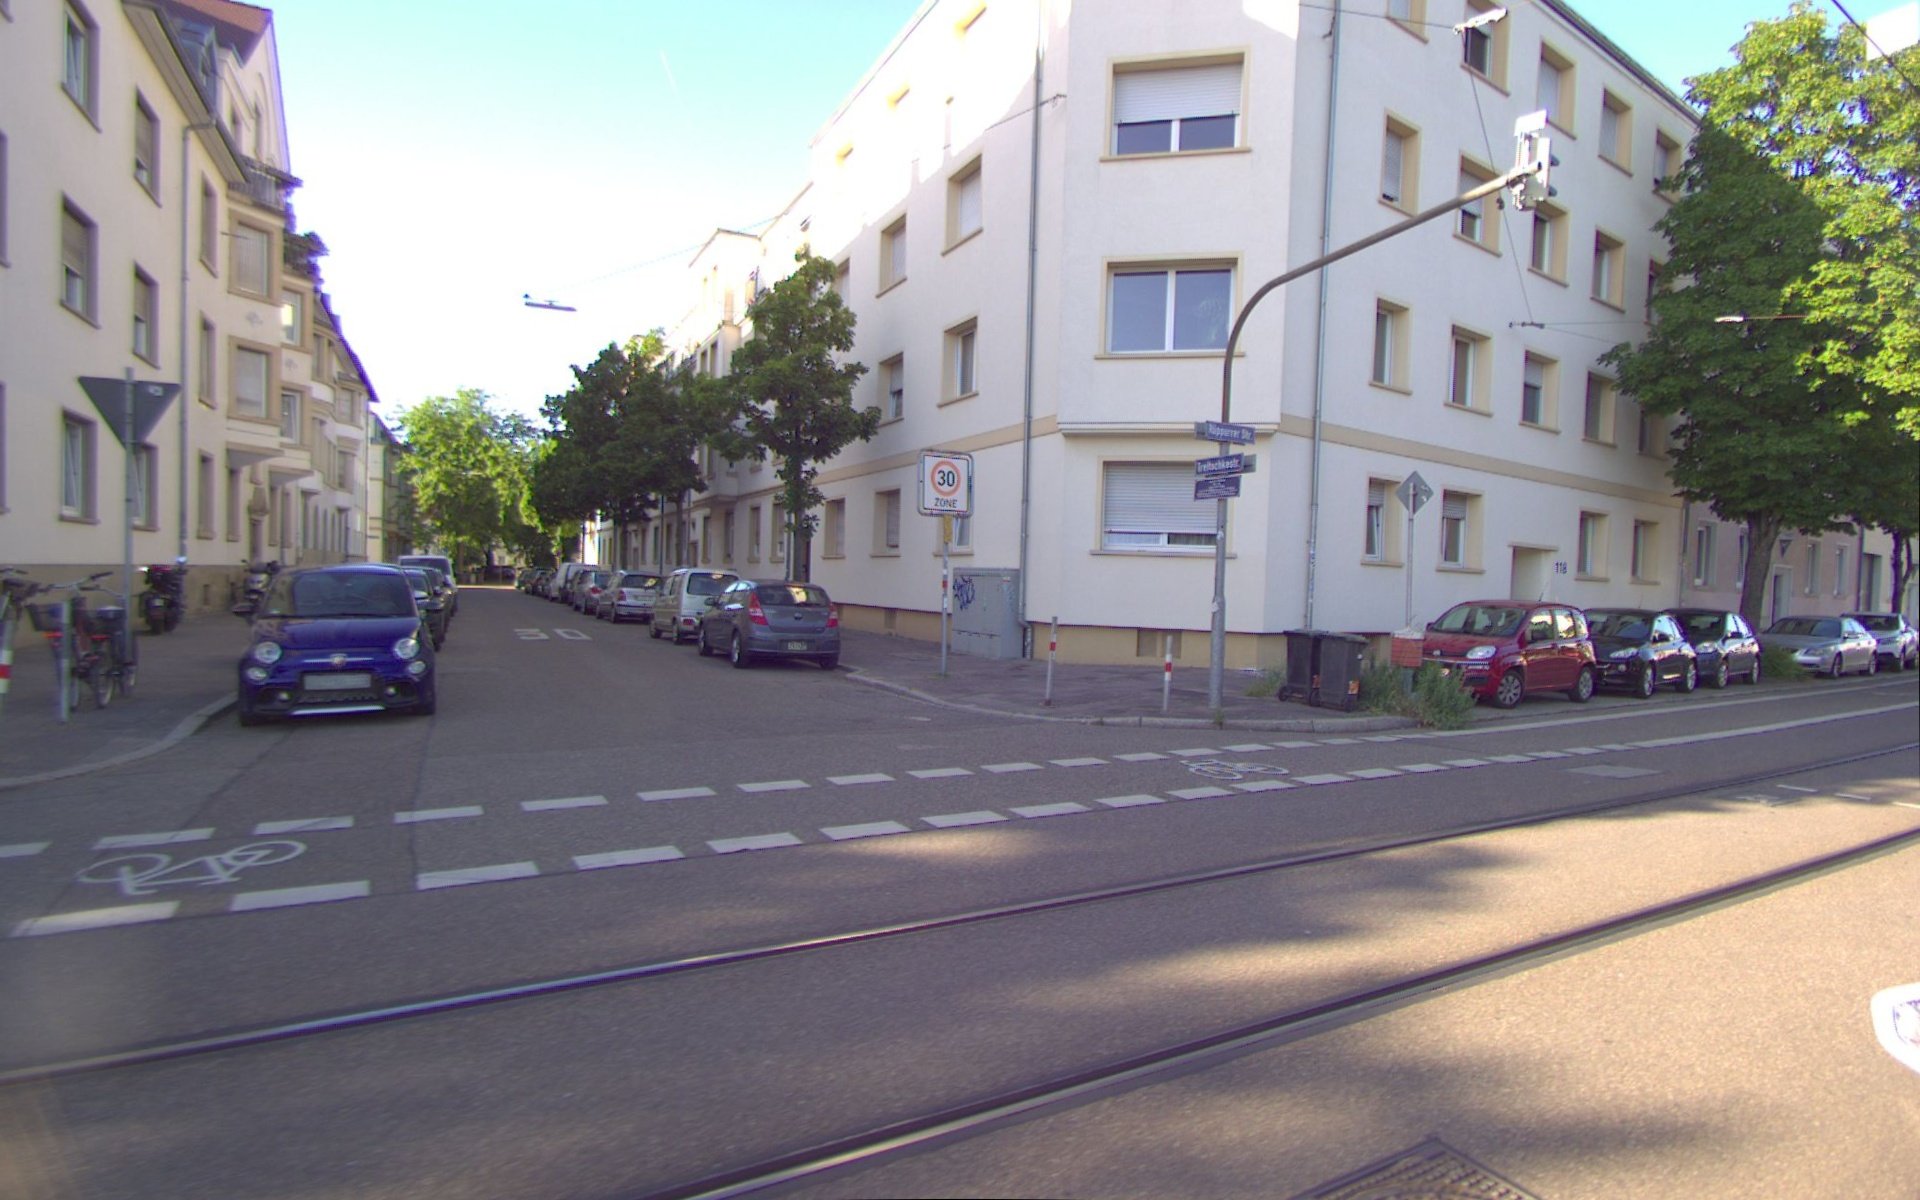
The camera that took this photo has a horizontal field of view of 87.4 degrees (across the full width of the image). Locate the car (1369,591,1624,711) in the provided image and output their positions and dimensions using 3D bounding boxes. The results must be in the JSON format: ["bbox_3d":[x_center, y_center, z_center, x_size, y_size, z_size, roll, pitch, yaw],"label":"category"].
[{"bbox_3d":[8.296,0.725,15.452,3.957,1.550,1.678,1,3,-33],"label":"car"}]

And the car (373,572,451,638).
[{"bbox_3d":[-13.222,0.066,24.300,1.559,1.477,3.493,0,1,-28],"label":"car"}]

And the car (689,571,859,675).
[{"bbox_3d":[-3.441,0.330,17.970,1.883,1.550,3.970,1,2,-28],"label":"car"}]

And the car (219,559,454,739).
[{"bbox_3d":[-6.417,0.365,10.593,1.747,1.477,3.868,1,2,-29],"label":"car"}]

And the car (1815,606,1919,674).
[{"bbox_3d":[25.874,1.091,28.592,4.262,1.690,1.637,1,2,-41],"label":"car"}]

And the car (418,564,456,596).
[{"bbox_3d":[-25.293,-0.963,48.547,1.559,1.477,3.493,0,1,-28],"label":"car"}]

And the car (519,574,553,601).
[{"bbox_3d":[-29.811,-0.891,70.603,1.883,1.675,3.970,1,2,-28],"label":"car"}]

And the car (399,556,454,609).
[{"bbox_3d":[-20.174,-0.660,38.010,1.719,1.859,3.493,1,1,-28],"label":"car"}]

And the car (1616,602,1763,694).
[{"bbox_3d":[14.954,0.923,20.540,3.702,1.635,1.577,1,2,-41],"label":"car"}]

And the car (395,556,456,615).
[{"bbox_3d":[-18.159,-0.508,34.128,1.719,1.859,3.493,1,1,-28],"label":"car"}]

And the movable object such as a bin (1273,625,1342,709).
[{"bbox_3d":[4.395,0.838,12.709,0.653,1.001,0.481,1,2,-34],"label":"movable object such as a bin"}]

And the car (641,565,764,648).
[{"bbox_3d":[-6.070,0.107,23.374,1.883,1.675,3.970,1,2,-28],"label":"car"}]

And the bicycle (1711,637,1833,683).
[{"bbox_3d":[18.701,1.367,23.191,0.472,0.836,2.112,1,2,-36],"label":"bicycle"}]

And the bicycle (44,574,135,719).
[{"bbox_3d":[-8.307,0.408,9.623,0.393,1.245,1.492,4,1,-34],"label":"bicycle"}]

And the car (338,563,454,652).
[{"bbox_3d":[-10.571,0.100,18.963,1.689,1.477,4.150,1,1,-28],"label":"car"}]

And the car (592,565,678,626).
[{"bbox_3d":[-10.262,-0.177,31.539,1.883,1.675,3.970,1,2,-28],"label":"car"}]

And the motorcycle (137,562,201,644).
[{"bbox_3d":[-13.753,0.043,17.517,0.619,1.324,2.528,3,-1,-33],"label":"motorcycle"}]

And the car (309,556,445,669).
[{"bbox_3d":[-8.658,0.133,15.031,1.560,1.477,3.491,1,1,-29],"label":"car"}]

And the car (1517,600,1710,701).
[{"bbox_3d":[11.808,0.842,18.078,3.825,1.550,1.772,1,2,-39],"label":"car"}]

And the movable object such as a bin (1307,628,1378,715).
[{"bbox_3d":[4.677,0.864,12.279,0.653,1.001,0.481,1,2,-34],"label":"movable object such as a bin"}]

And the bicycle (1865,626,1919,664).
[{"bbox_3d":[29.027,1.402,30.725,0.471,1.060,1.912,1,2,-34],"label":"bicycle"}]

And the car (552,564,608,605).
[{"bbox_3d":[-17.344,-0.733,45.768,1.883,1.675,3.970,1,2,-28],"label":"car"}]

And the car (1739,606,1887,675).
[{"bbox_3d":[21.417,0.985,25.165,4.613,1.495,1.677,1,2,-35],"label":"car"}]

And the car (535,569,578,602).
[{"bbox_3d":[-22.853,-0.823,56.817,1.883,1.675,3.970,1,2,-28],"label":"car"}]

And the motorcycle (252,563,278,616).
[{"bbox_3d":[-18.852,-0.297,27.263,0.531,1.324,2.217,1,2,-33],"label":"motorcycle"}]
